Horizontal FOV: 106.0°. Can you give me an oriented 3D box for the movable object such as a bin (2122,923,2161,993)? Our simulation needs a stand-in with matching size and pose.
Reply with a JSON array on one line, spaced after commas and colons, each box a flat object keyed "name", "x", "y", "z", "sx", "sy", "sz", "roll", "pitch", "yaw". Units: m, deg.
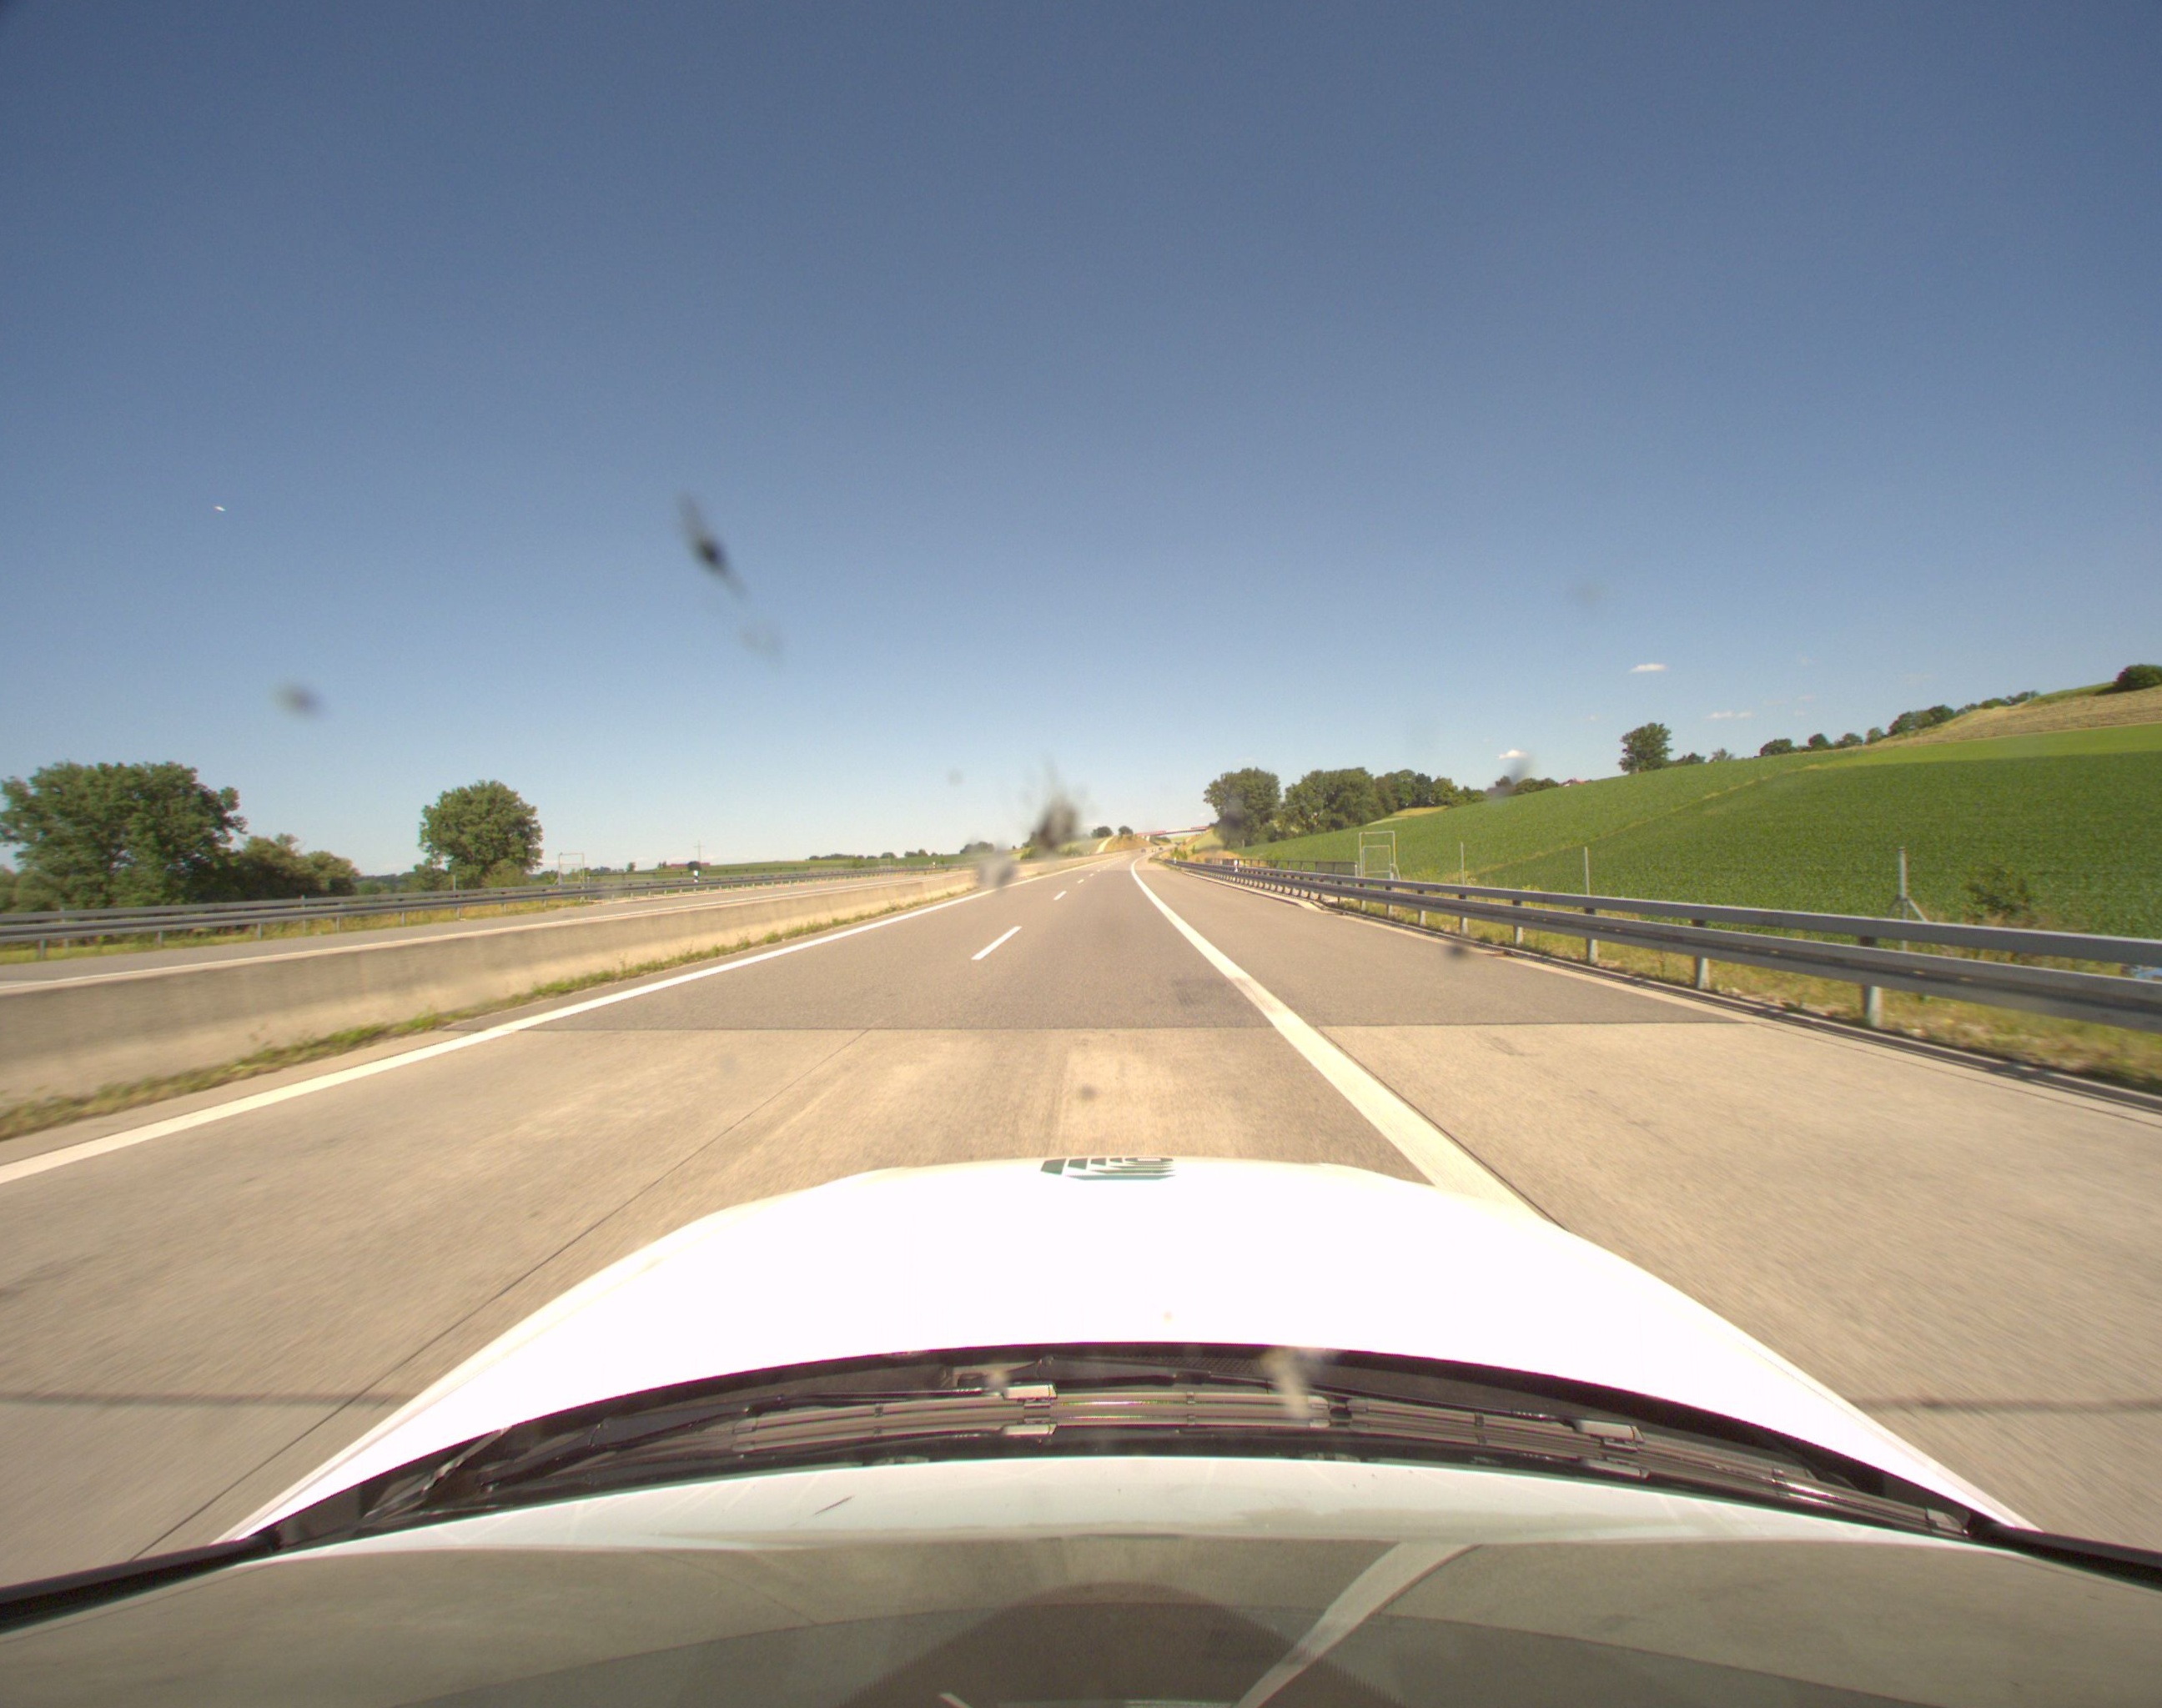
[{"name": "movable object such as a bin", "x": 48.693, "y": 4.447, "z": 33.802, "sx": 6.152, "sy": 2.771, "sz": 3.306, "roll": -2, "pitch": -2, "yaw": 42}]
